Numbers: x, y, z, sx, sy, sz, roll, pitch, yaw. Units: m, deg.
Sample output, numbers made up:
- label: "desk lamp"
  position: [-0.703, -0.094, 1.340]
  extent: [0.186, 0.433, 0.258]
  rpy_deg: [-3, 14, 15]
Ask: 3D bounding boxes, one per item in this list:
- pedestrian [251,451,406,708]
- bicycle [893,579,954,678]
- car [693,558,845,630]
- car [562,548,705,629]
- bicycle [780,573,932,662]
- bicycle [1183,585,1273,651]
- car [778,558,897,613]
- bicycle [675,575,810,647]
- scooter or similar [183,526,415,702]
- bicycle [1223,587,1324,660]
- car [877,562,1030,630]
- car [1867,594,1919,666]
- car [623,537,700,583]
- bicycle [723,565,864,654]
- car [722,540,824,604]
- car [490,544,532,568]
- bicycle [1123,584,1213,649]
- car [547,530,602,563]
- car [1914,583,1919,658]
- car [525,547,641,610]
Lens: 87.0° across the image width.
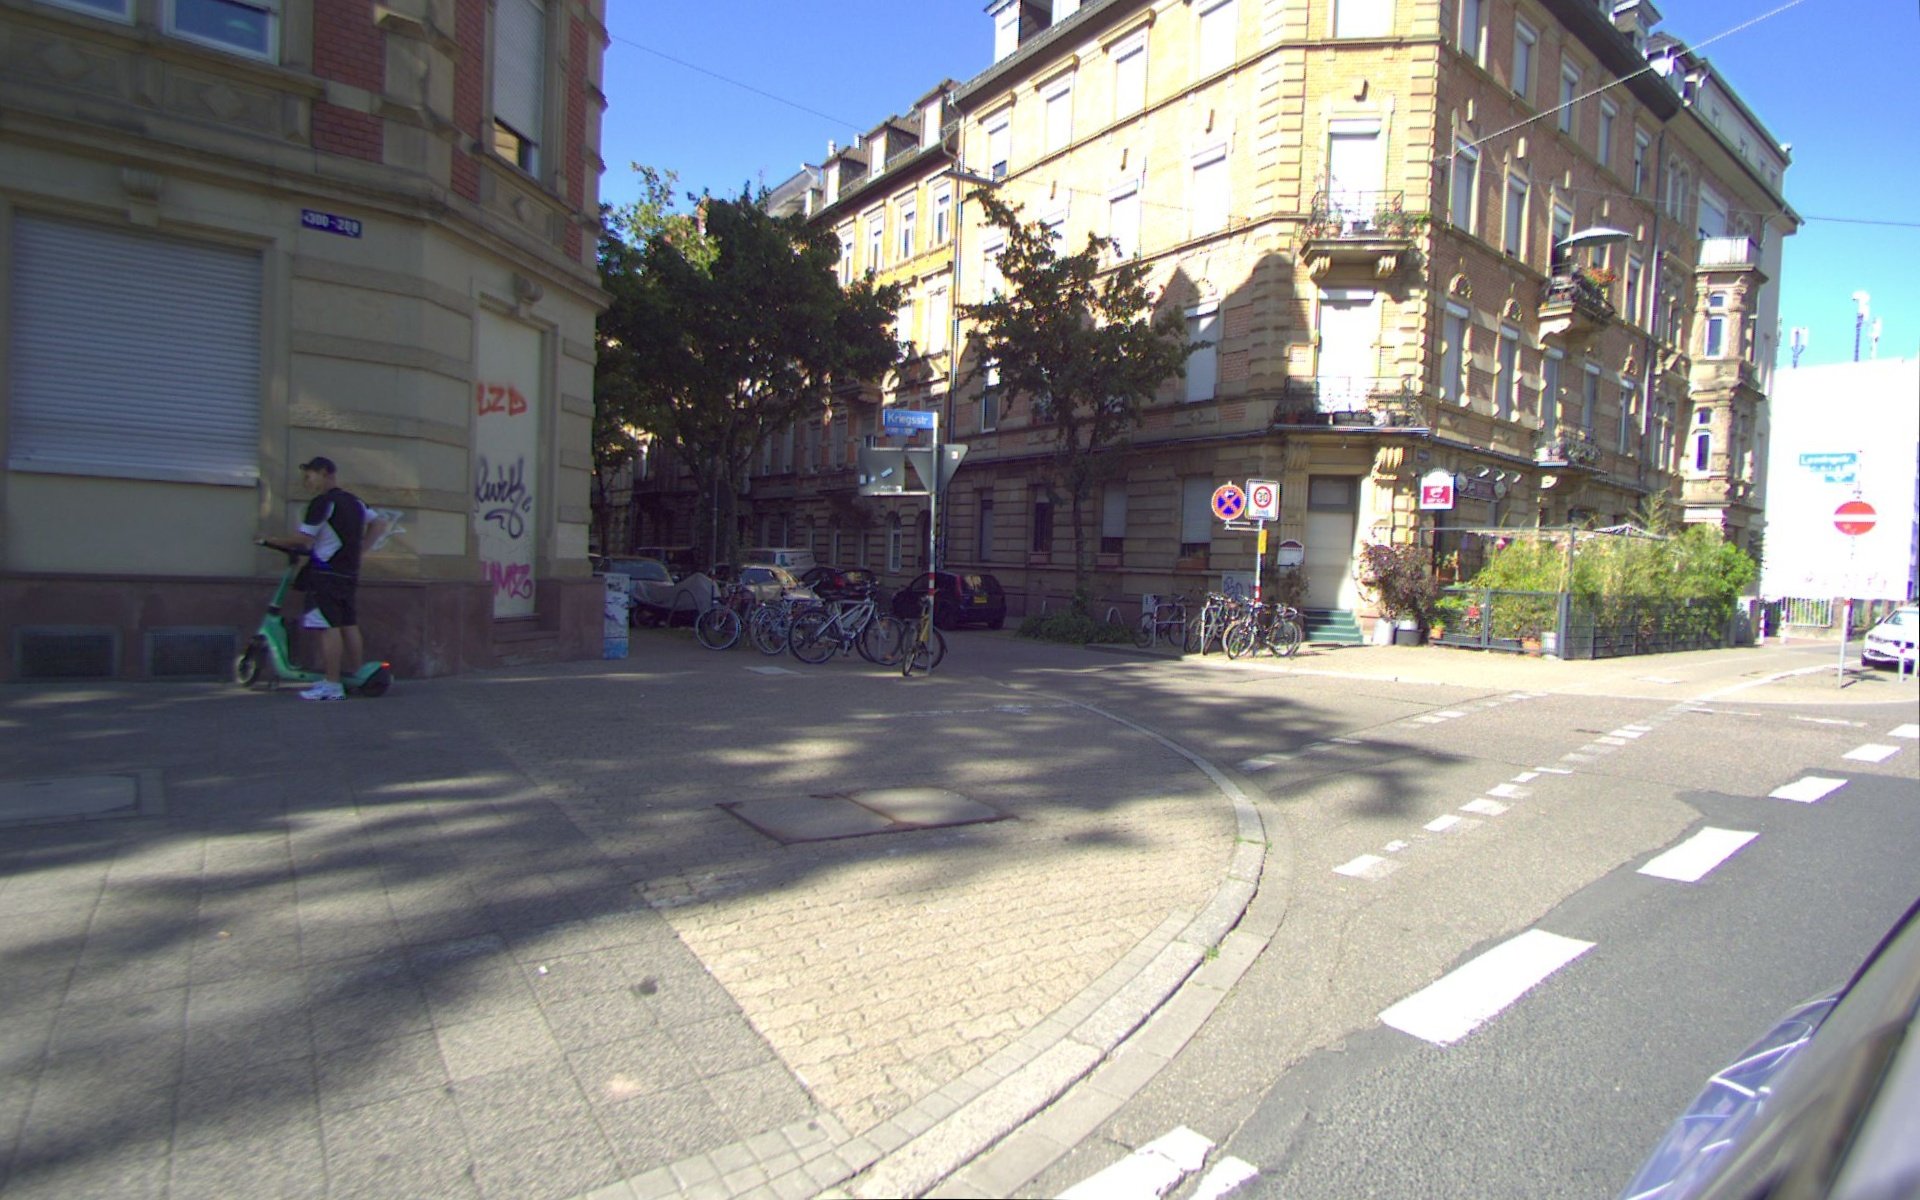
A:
- label: "pedestrian"
  position: [-4.981, -0.164, 8.022]
  extent: [0.752, 1.916, 0.694]
  rpy_deg: [2, 1, -2]
- label: "bicycle"
  position: [-0.441, 0.333, 13.154]
  extent: [0.574, 1.148, 2.018]
  rpy_deg: [4, 1, 2]
- label: "car"
  position: [-4.733, -0.186, 24.588]
  extent: [2.008, 1.434, 4.425]
  rpy_deg: [1, 3, -34]
- label: "car"
  position: [-7.444, -0.300, 22.833]
  extent: [2.008, 1.542, 3.941]
  rpy_deg: [1, 3, -34]
- label: "bicycle"
  position: [-1.418, 0.253, 13.977]
  extent: [1.979, 1.148, 0.586]
  rpy_deg: [2, 1, -31]
- label: "bicycle"
  position: [5.005, 0.307, 18.826]
  extent: [1.984, 1.148, 0.584]
  rpy_deg: [-1, 4, -42]
- label: "car"
  position: [-3.828, -0.472, 31.007]
  extent: [2.008, 1.434, 3.941]
  rpy_deg: [1, 3, -34]
- label: "bicycle"
  position: [-3.406, 0.170, 15.945]
  extent: [1.980, 1.068, 0.585]
  rpy_deg: [1, 2, -34]
- label: "scooter or similar"
  position: [-5.152, 0.097, 7.990]
  extent: [1.380, 1.278, 0.763]
  rpy_deg: [2, 3, -20]
- label: "bicycle"
  position: [5.529, 0.385, 17.806]
  extent: [1.984, 1.148, 0.735]
  rpy_deg: [-2, 4, -41]
- label: "car"
  position: [-0.242, -0.142, 25.829]
  extent: [2.008, 1.434, 3.941]
  rpy_deg: [1, 3, -34]
- label: "car"
  position: [21.952, 0.711, 22.608]
  extent: [4.032, 1.457, 1.847]
  rpy_deg: [1, 5, -40]
- label: "car"
  position: [-12.802, -1.729, 43.238]
  extent: [2.008, 1.764, 3.941]
  rpy_deg: [1, 3, -34]
- label: "bicycle"
  position: [-2.413, 0.162, 14.878]
  extent: [0.633, 1.200, 1.986]
  rpy_deg: [4, 1, 44]
- label: "car"
  position: [-6.517, -1.001, 34.961]
  extent: [2.008, 1.944, 3.941]
  rpy_deg: [1, 3, -34]
- label: "car"
  position: [-30.390, -3.011, 68.473]
  extent: [1.934, 1.434, 3.941]
  rpy_deg: [1, 3, -34]
- label: "bicycle"
  position: [4.030, 0.295, 19.537]
  extent: [1.984, 1.148, 0.584]
  rpy_deg: [-2, 5, -41]
- label: "car"
  position: [-21.322, -2.968, 55.919]
  extent: [1.918, 1.630, 3.941]
  rpy_deg: [1, 3, -34]
- label: "car"
  position: [25.980, 0.581, 25.962]
  extent: [3.498, 1.896, 1.694]
  rpy_deg: [1, 3, -40]
- label: "car"
  position: [-10.162, -0.618, 27.081]
  extent: [2.008, 1.434, 3.941]
  rpy_deg: [1, 3, -34]
